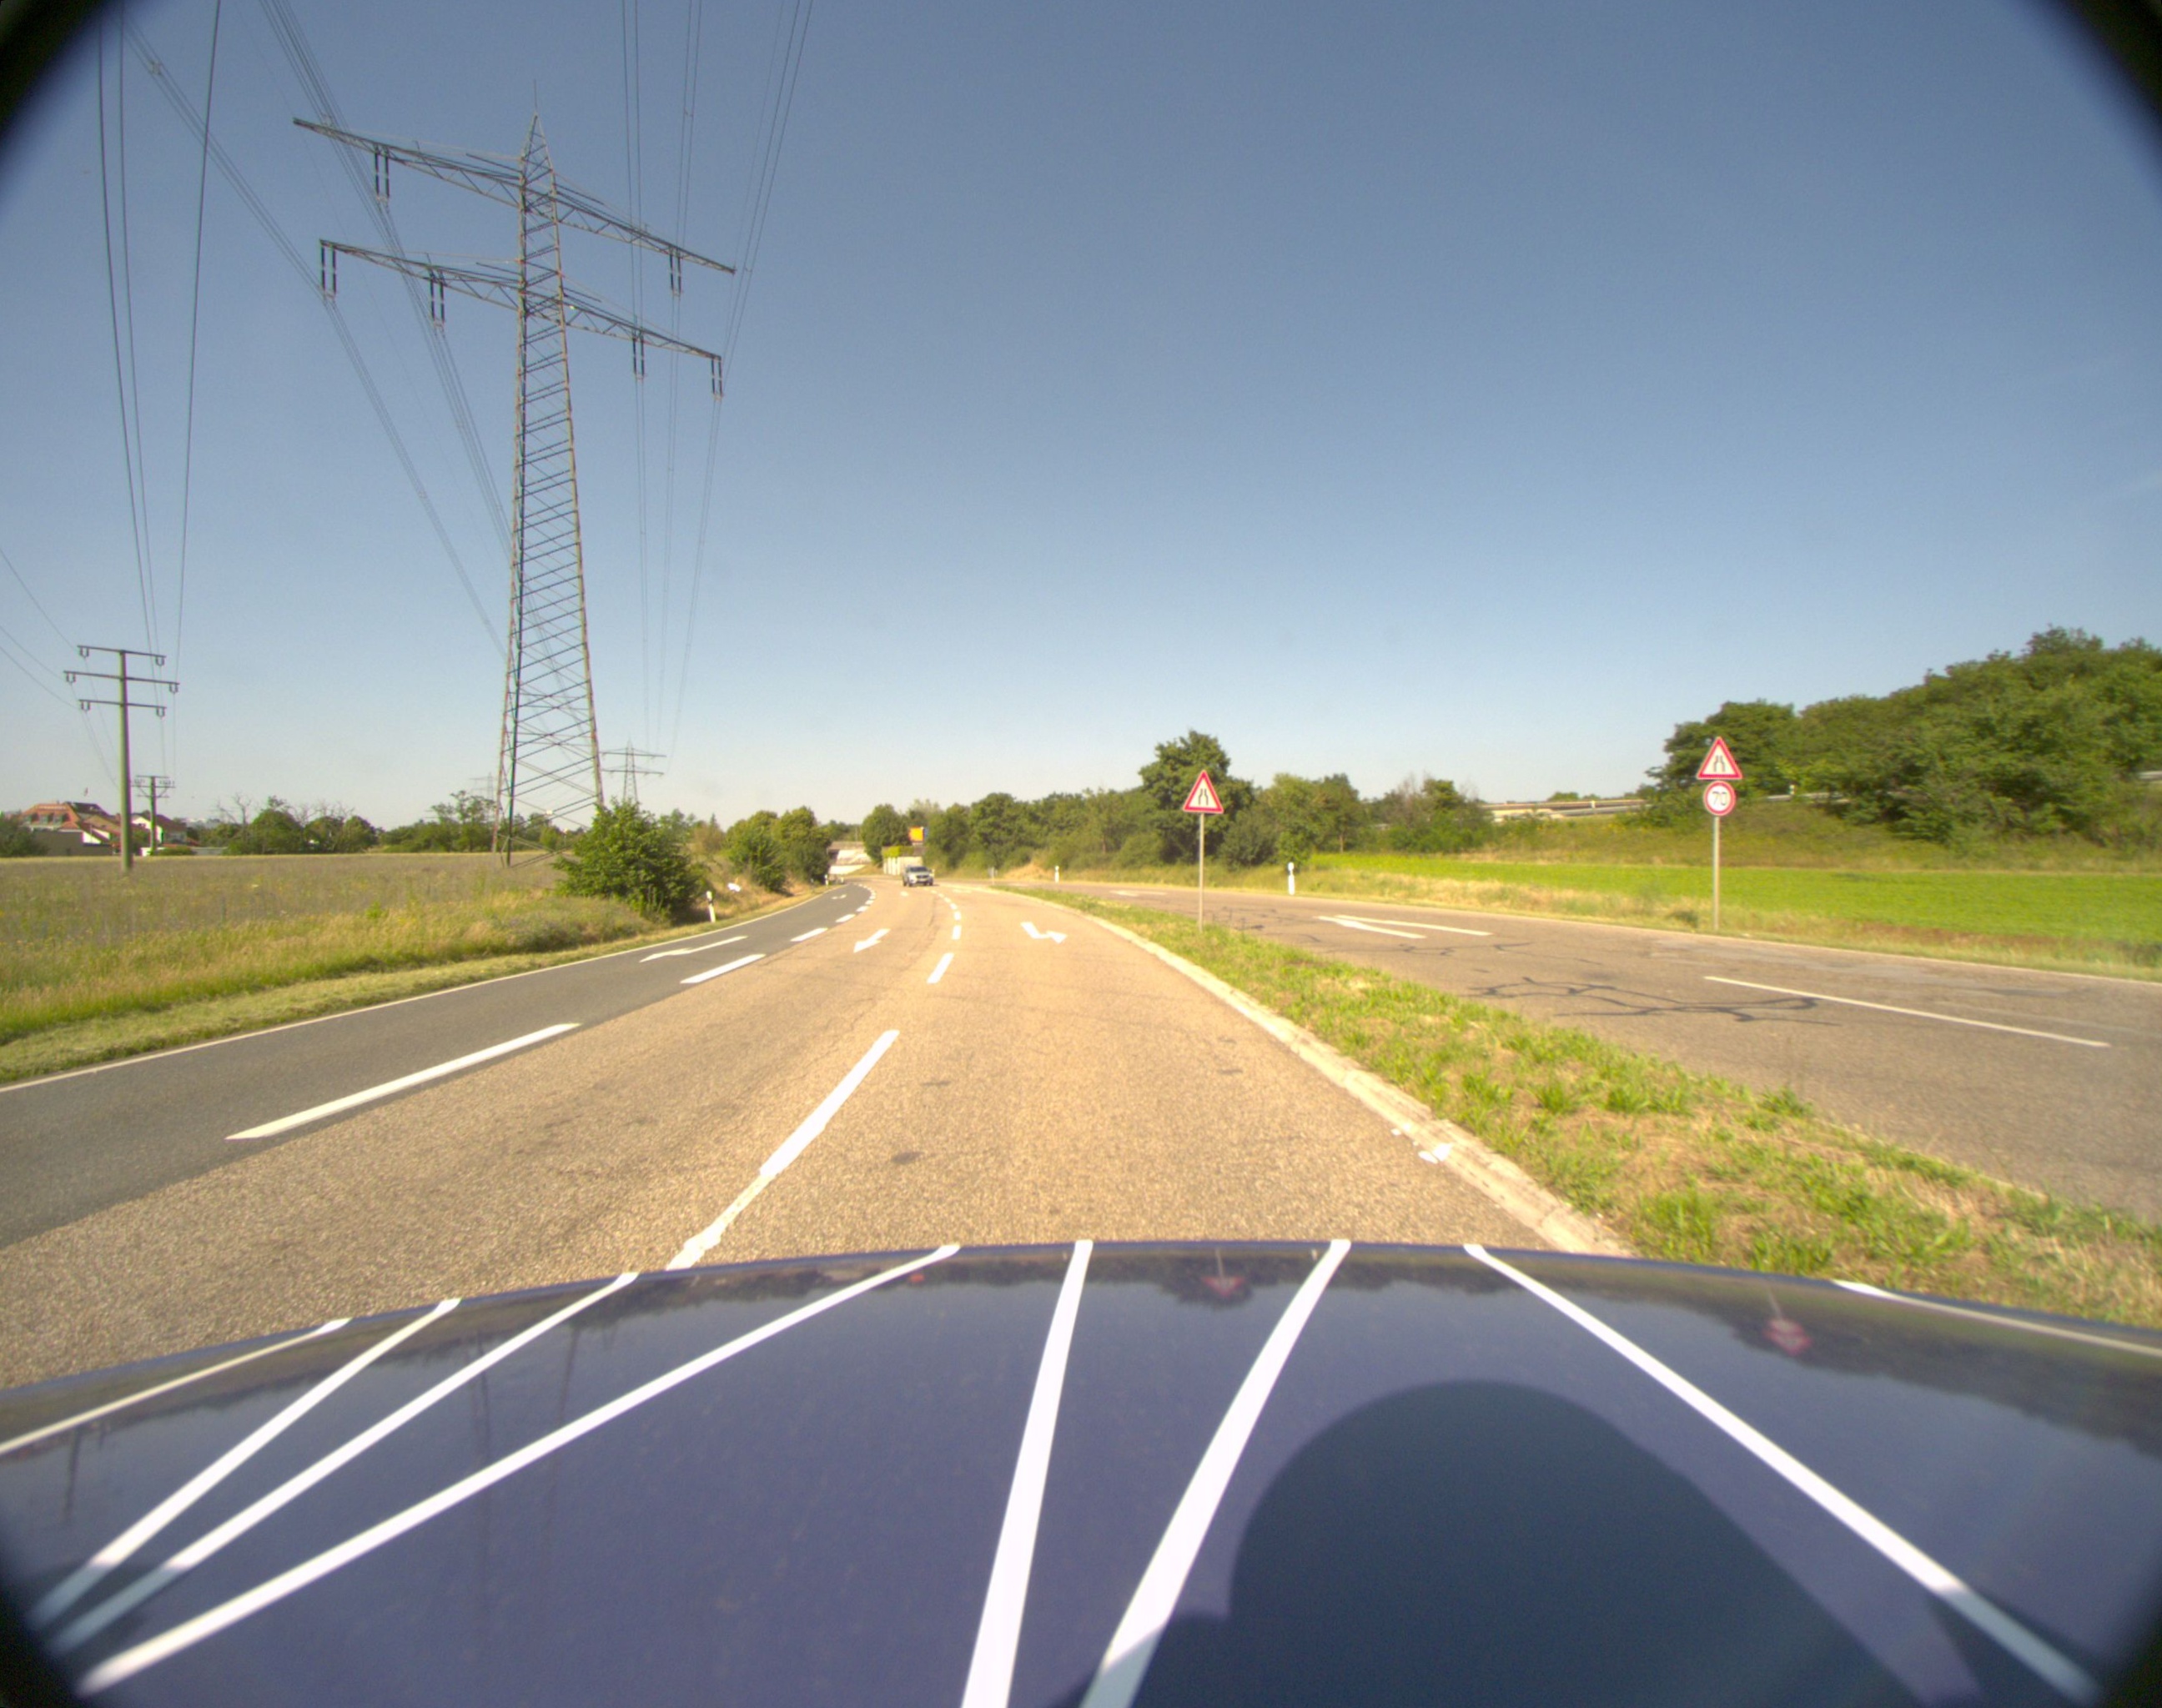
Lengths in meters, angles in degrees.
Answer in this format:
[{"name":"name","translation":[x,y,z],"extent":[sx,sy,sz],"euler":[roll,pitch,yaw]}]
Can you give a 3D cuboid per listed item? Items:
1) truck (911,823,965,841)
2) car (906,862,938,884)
[{"name":"truck","translation":[-29.834,-4.647,158.192],"extent":[11.259,3.165,2.165],"euler":[-2,1,20]},{"name":"car","translation":[-12.447,1.503,59.478],"extent":[1.862,1.609,3.641],"euler":[-2,0,-21]}]
